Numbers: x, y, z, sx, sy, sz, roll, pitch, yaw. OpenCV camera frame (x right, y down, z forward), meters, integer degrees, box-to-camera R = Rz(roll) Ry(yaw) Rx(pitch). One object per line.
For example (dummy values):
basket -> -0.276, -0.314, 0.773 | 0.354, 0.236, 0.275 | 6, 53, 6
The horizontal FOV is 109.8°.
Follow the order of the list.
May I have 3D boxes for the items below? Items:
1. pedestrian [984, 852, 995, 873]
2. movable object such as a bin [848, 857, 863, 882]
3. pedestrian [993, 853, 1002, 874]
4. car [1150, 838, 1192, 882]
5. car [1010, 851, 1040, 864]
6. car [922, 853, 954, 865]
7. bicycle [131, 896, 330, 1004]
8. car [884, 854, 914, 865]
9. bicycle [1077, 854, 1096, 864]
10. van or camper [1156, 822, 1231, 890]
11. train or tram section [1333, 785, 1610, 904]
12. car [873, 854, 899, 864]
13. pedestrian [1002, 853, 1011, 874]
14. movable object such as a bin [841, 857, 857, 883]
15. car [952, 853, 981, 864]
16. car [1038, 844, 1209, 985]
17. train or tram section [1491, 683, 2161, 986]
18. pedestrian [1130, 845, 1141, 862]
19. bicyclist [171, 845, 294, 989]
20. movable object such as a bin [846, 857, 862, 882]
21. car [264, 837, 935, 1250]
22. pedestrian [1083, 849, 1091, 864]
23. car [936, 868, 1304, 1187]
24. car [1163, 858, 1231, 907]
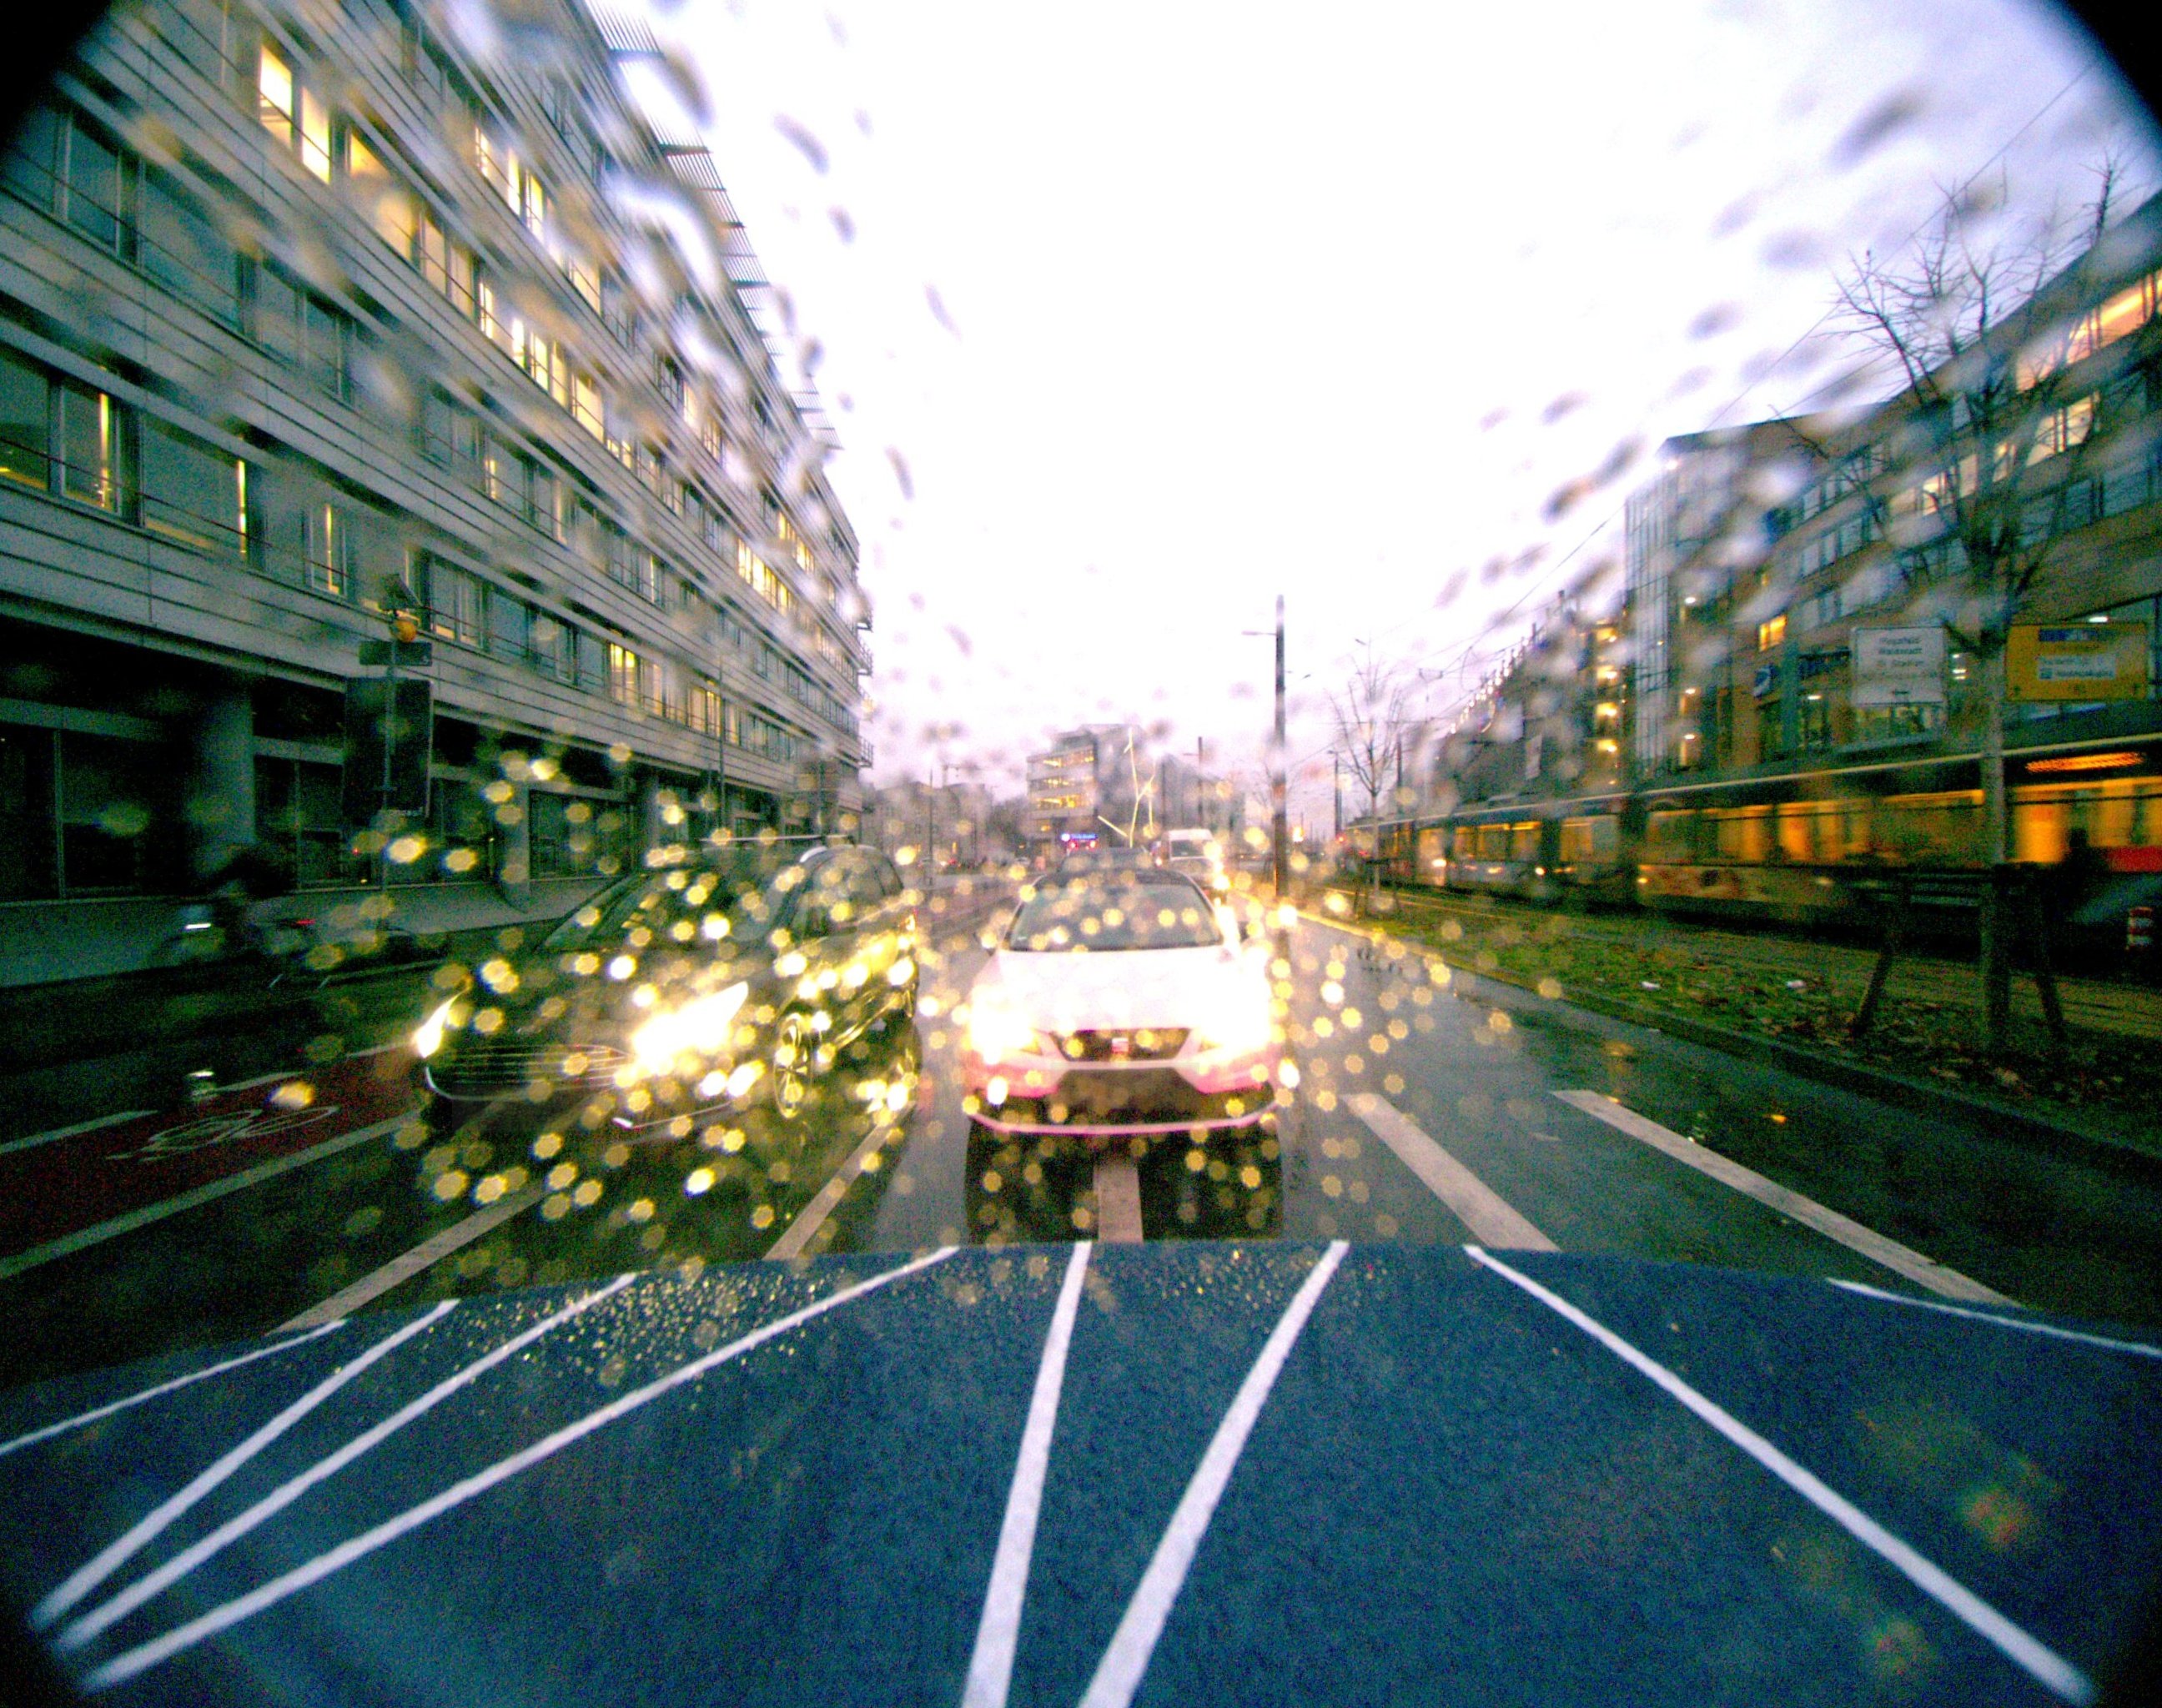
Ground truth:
pedestrian -> -7.500, 0.682, 62.086 | 0.747, 1.692, 0.969 | 2, 1, -3
movable object such as a bin -> -13.408, 0.921, 45.226 | 0.666, 1.468, 0.840 | -1, 1, -2
pedestrian -> -6.730, 0.741, 61.417 | 0.651, 1.692, 0.884 | 1, 1, -3
car -> 6.157, 0.377, 52.797 | 2.129, 2.847, 5.813 | -1, 0, -1
car -> -8.127, 0.519, 109.505 | 3.918, 1.699, 1.782 | -1, 1, 15
car -> -21.392, 0.788, 113.729 | 4.368, 1.750, 2.002 | -1, 1, 17
bicycle -> -11.033, 1.198, 9.961 | 0.681, 1.191, 1.760 | 0, 1, -3
car -> -27.832, 0.821, 116.087 | 3.996, 1.663, 2.002 | -1, 1, 17
bicycle -> 0.685, 0.619, 95.322 | 2.207, 1.182, 0.667 | 0, 1, -13
van or camper -> 4.529, 0.076, 31.518 | 2.153, 2.517, 5.898 | -1, 0, 0
train or tram section -> 15.184, -0.346, 33.114 | 2.871, 3.593, 20.074 | 0, 0, 3
car -> -33.751, 0.880, 131.549 | 4.021, 1.645, 1.905 | -1, 0, 17
pedestrian -> -6.021, 0.740, 61.560 | 0.616, 1.659, 0.884 | 1, 1, -3
movable object such as a bin -> -13.248, 0.903, 43.399 | 0.666, 1.420, 0.840 | -1, 1, -2
car -> -16.916, 0.701, 112.239 | 3.759, 1.528, 1.782 | 0, 0, 17
car -> 0.578, 0.769, 12.202 | 2.169, 1.744, 4.541 | -2, 1, 0
train or tram section -> 14.353, -0.273, 14.526 | 2.871, 3.593, 19.212 | 0, 0, 1
pedestrian -> 6.318, -0.027, 88.192 | 1.118, 2.002, 1.034 | 0, 1, 15
bicyclist -> -11.035, 0.786, 9.915 | 0.671, 1.788, 0.806 | 0, 1, -3
movable object such as a bin -> -13.244, 0.917, 44.296 | 0.666, 1.420, 0.840 | -1, 1, -2
car -> -2.604, 0.847, 5.726 | 1.887, 1.800, 4.671 | -2, 0, 2
pedestrian -> 0.746, 0.326, 95.336 | 0.894, 1.783, 0.667 | 0, 1, -13
car -> 0.217, 0.888, 5.693 | 1.782, 1.464, 3.943 | -1, 0, 1
car -> 3.632, 0.853, 24.340 | 1.759, 1.337, 4.057 | -1, 1, 3
